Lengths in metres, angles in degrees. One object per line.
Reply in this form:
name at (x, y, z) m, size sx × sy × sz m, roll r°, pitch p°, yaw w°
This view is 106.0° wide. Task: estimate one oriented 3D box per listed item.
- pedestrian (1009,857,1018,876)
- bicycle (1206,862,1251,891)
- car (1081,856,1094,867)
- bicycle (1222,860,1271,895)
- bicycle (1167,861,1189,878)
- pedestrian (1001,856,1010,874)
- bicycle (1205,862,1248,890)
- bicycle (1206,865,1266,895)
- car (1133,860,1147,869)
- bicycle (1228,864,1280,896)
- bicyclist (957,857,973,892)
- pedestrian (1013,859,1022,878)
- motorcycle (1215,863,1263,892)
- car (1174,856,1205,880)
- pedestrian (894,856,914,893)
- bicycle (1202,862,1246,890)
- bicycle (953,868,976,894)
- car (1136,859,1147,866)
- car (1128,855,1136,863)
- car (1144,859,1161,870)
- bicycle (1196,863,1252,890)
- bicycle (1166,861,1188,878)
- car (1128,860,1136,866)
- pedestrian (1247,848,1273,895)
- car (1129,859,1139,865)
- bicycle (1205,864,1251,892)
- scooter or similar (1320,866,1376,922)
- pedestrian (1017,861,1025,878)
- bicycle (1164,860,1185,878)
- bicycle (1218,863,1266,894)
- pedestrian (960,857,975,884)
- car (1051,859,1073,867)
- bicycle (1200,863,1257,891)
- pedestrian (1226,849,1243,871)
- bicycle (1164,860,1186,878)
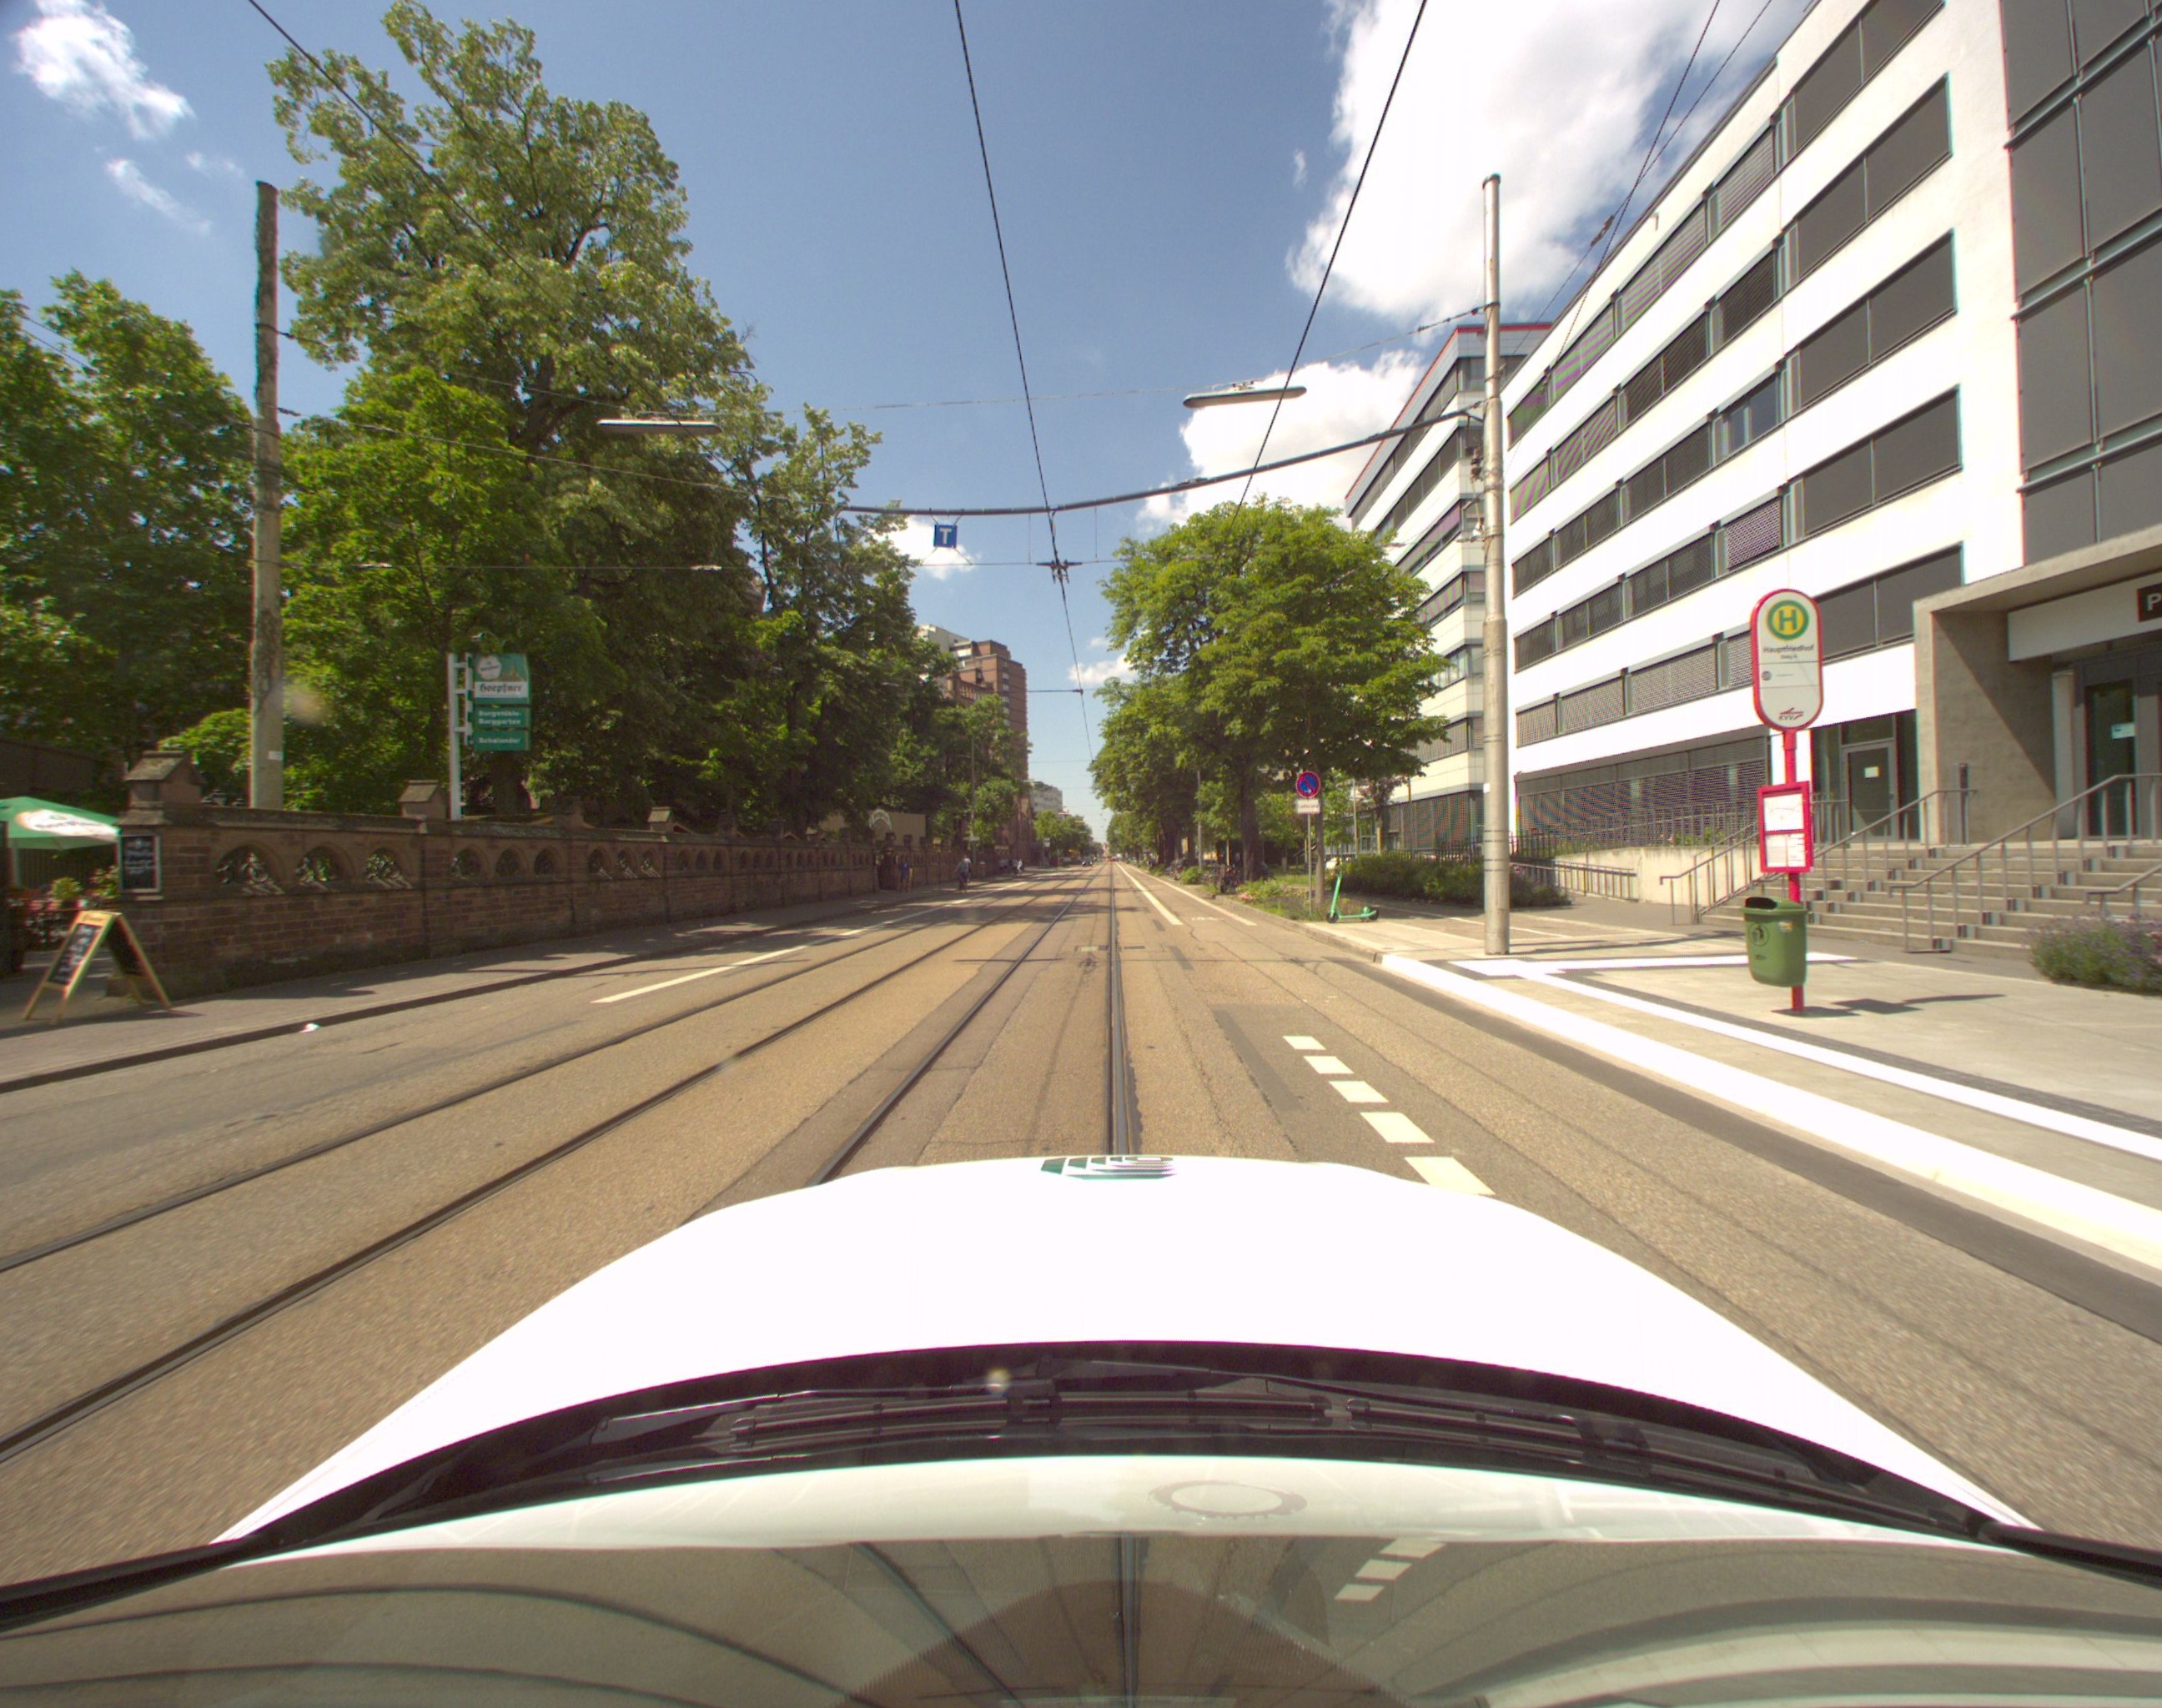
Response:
pedestrian at (-6.487, 1.202, 78.671) m, size 0.740 × 1.728 × 0.868 m, roll -1°, pitch -1°, yaw 1°
bicycle at (6.133, 0.931, 33.864) m, size 1.747 × 1.166 × 0.530 m, roll -1°, pitch -1°, yaw -1°
car at (1.235, 1.319, 149.819) m, size 1.984 × 2.014 × 4.005 m, roll -1°, pitch 0°, yaw 4°
bicycle at (6.281, 0.878, 30.936) m, size 1.747 × 1.271 × 0.530 m, roll -1°, pitch -1°, yaw -1°
bicycle at (7.127, 1.127, 59.635) m, size 1.557 × 1.241 × 0.437 m, roll -2°, pitch -1°, yaw 3°
pedestrian at (-7.259, 1.075, 78.726) m, size 0.740 × 1.728 × 0.868 m, roll -1°, pitch -1°, yaw 1°
bicycle at (6.258, 0.934, 35.016) m, size 1.747 × 1.166 × 0.530 m, roll -1°, pitch -1°, yaw -1°
bicycle at (6.784, 1.134, 35.683) m, size 2.498 × 1.209 × 0.649 m, roll -1°, pitch -1°, yaw 6°
car at (8.951, 1.600, 124.413) m, size 1.986 × 1.310 × 4.002 m, roll -1°, pitch 0°, yaw 2°
bicycle at (6.322, 0.948, 29.762) m, size 1.782 × 1.102 × 0.531 m, roll -1°, pitch -1°, yaw 0°
bicyclist at (-5.756, 1.019, 40.396) m, size 0.639 × 1.679 × 0.815 m, roll -1°, pitch -1°, yaw 2°
pedestrian at (-5.994, 1.381, 77.105) m, size 0.740 × 1.728 × 0.868 m, roll -1°, pitch -1°, yaw 1°
motorcycle at (6.419, 0.938, 33.055) m, size 1.817 × 1.110 × 0.598 m, roll -1°, pitch -1°, yaw 2°
car at (7.126, 0.914, 53.733) m, size 1.627 × 1.501 × 4.002 m, roll -1°, pitch 0°, yaw 2°
pedestrian at (-8.527, 0.984, 39.323) m, size 0.740 × 1.728 × 0.868 m, roll -1°, pitch -1°, yaw 1°
bicycle at (6.060, 0.930, 34.519) m, size 1.747 × 1.166 × 0.530 m, roll -1°, pitch -1°, yaw -1°
bicycle at (-5.735, 1.330, 40.301) m, size 0.698 × 1.204 × 2.241 m, roll -3°, pitch -1°, yaw 2°
car at (11.604, 1.601, 155.653) m, size 1.986 × 1.310 × 4.002 m, roll -1°, pitch 0°, yaw 2°
car at (13.061, 1.210, 208.453) m, size 1.986 × 1.904 × 4.002 m, roll -1°, pitch 0°, yaw 2°
car at (9.025, 1.364, 103.167) m, size 1.986 × 1.310 × 4.002 m, roll -1°, pitch 0°, yaw 2°
bicycle at (6.638, 1.039, 37.870) m, size 2.498 × 1.209 × 0.743 m, roll -1°, pitch -1°, yaw 6°
bicycle at (7.116, 1.122, 60.139) m, size 1.557 × 1.241 × 0.437 m, roll -2°, pitch -1°, yaw 3°
car at (12.471, 2.181, 198.789) m, size 1.986 × 1.310 × 4.002 m, roll -1°, pitch 0°, yaw 2°
pedestrian at (6.692, 0.641, 30.450) m, size 0.577 × 1.715 × 0.802 m, roll -2°, pitch -1°, yaw 45°
car at (10.981, 1.610, 167.979) m, size 1.986 × 1.310 × 4.002 m, roll -1°, pitch 0°, yaw 2°
bicycle at (6.564, 1.063, 36.420) m, size 1.987 × 1.209 × 0.663 m, roll -1°, pitch -1°, yaw 6°
scooter or similar at (5.819, 0.871, 17.765) m, size 1.054 × 1.156 × 0.371 m, roll -3°, pitch -1°, yaw 2°
pedestrian at (-6.027, 1.587, 82.174) m, size 0.740 × 1.728 × 0.867 m, roll -1°, pitch -1°, yaw 1°
bicycle at (7.038, 1.126, 61.254) m, size 1.557 × 1.241 × 0.437 m, roll -2°, pitch -1°, yaw 3°
bicycle at (6.217, 0.931, 31.479) m, size 1.747 × 1.166 × 0.530 m, roll -1°, pitch -1°, yaw -1°
pedestrian at (-7.429, 1.057, 53.161) m, size 0.811 × 1.770 × 0.925 m, roll -1°, pitch -1°, yaw 1°
car at (-4.523, 2.083, 193.745) m, size 4.753 × 1.717 × 1.983 m, roll -1°, pitch -1°, yaw -26°
bicycle at (6.683, 1.062, 37.091) m, size 2.498 × 1.209 × 0.623 m, roll -1°, pitch -1°, yaw 6°
pedestrian at (13.062, 0.474, 69.161) m, size 1.212 × 1.827 × 0.831 m, roll -1°, pitch -1°, yaw -2°
bicycle at (7.021, 1.125, 60.726) m, size 1.557 × 1.241 × 0.437 m, roll -2°, pitch -1°, yaw 3°
